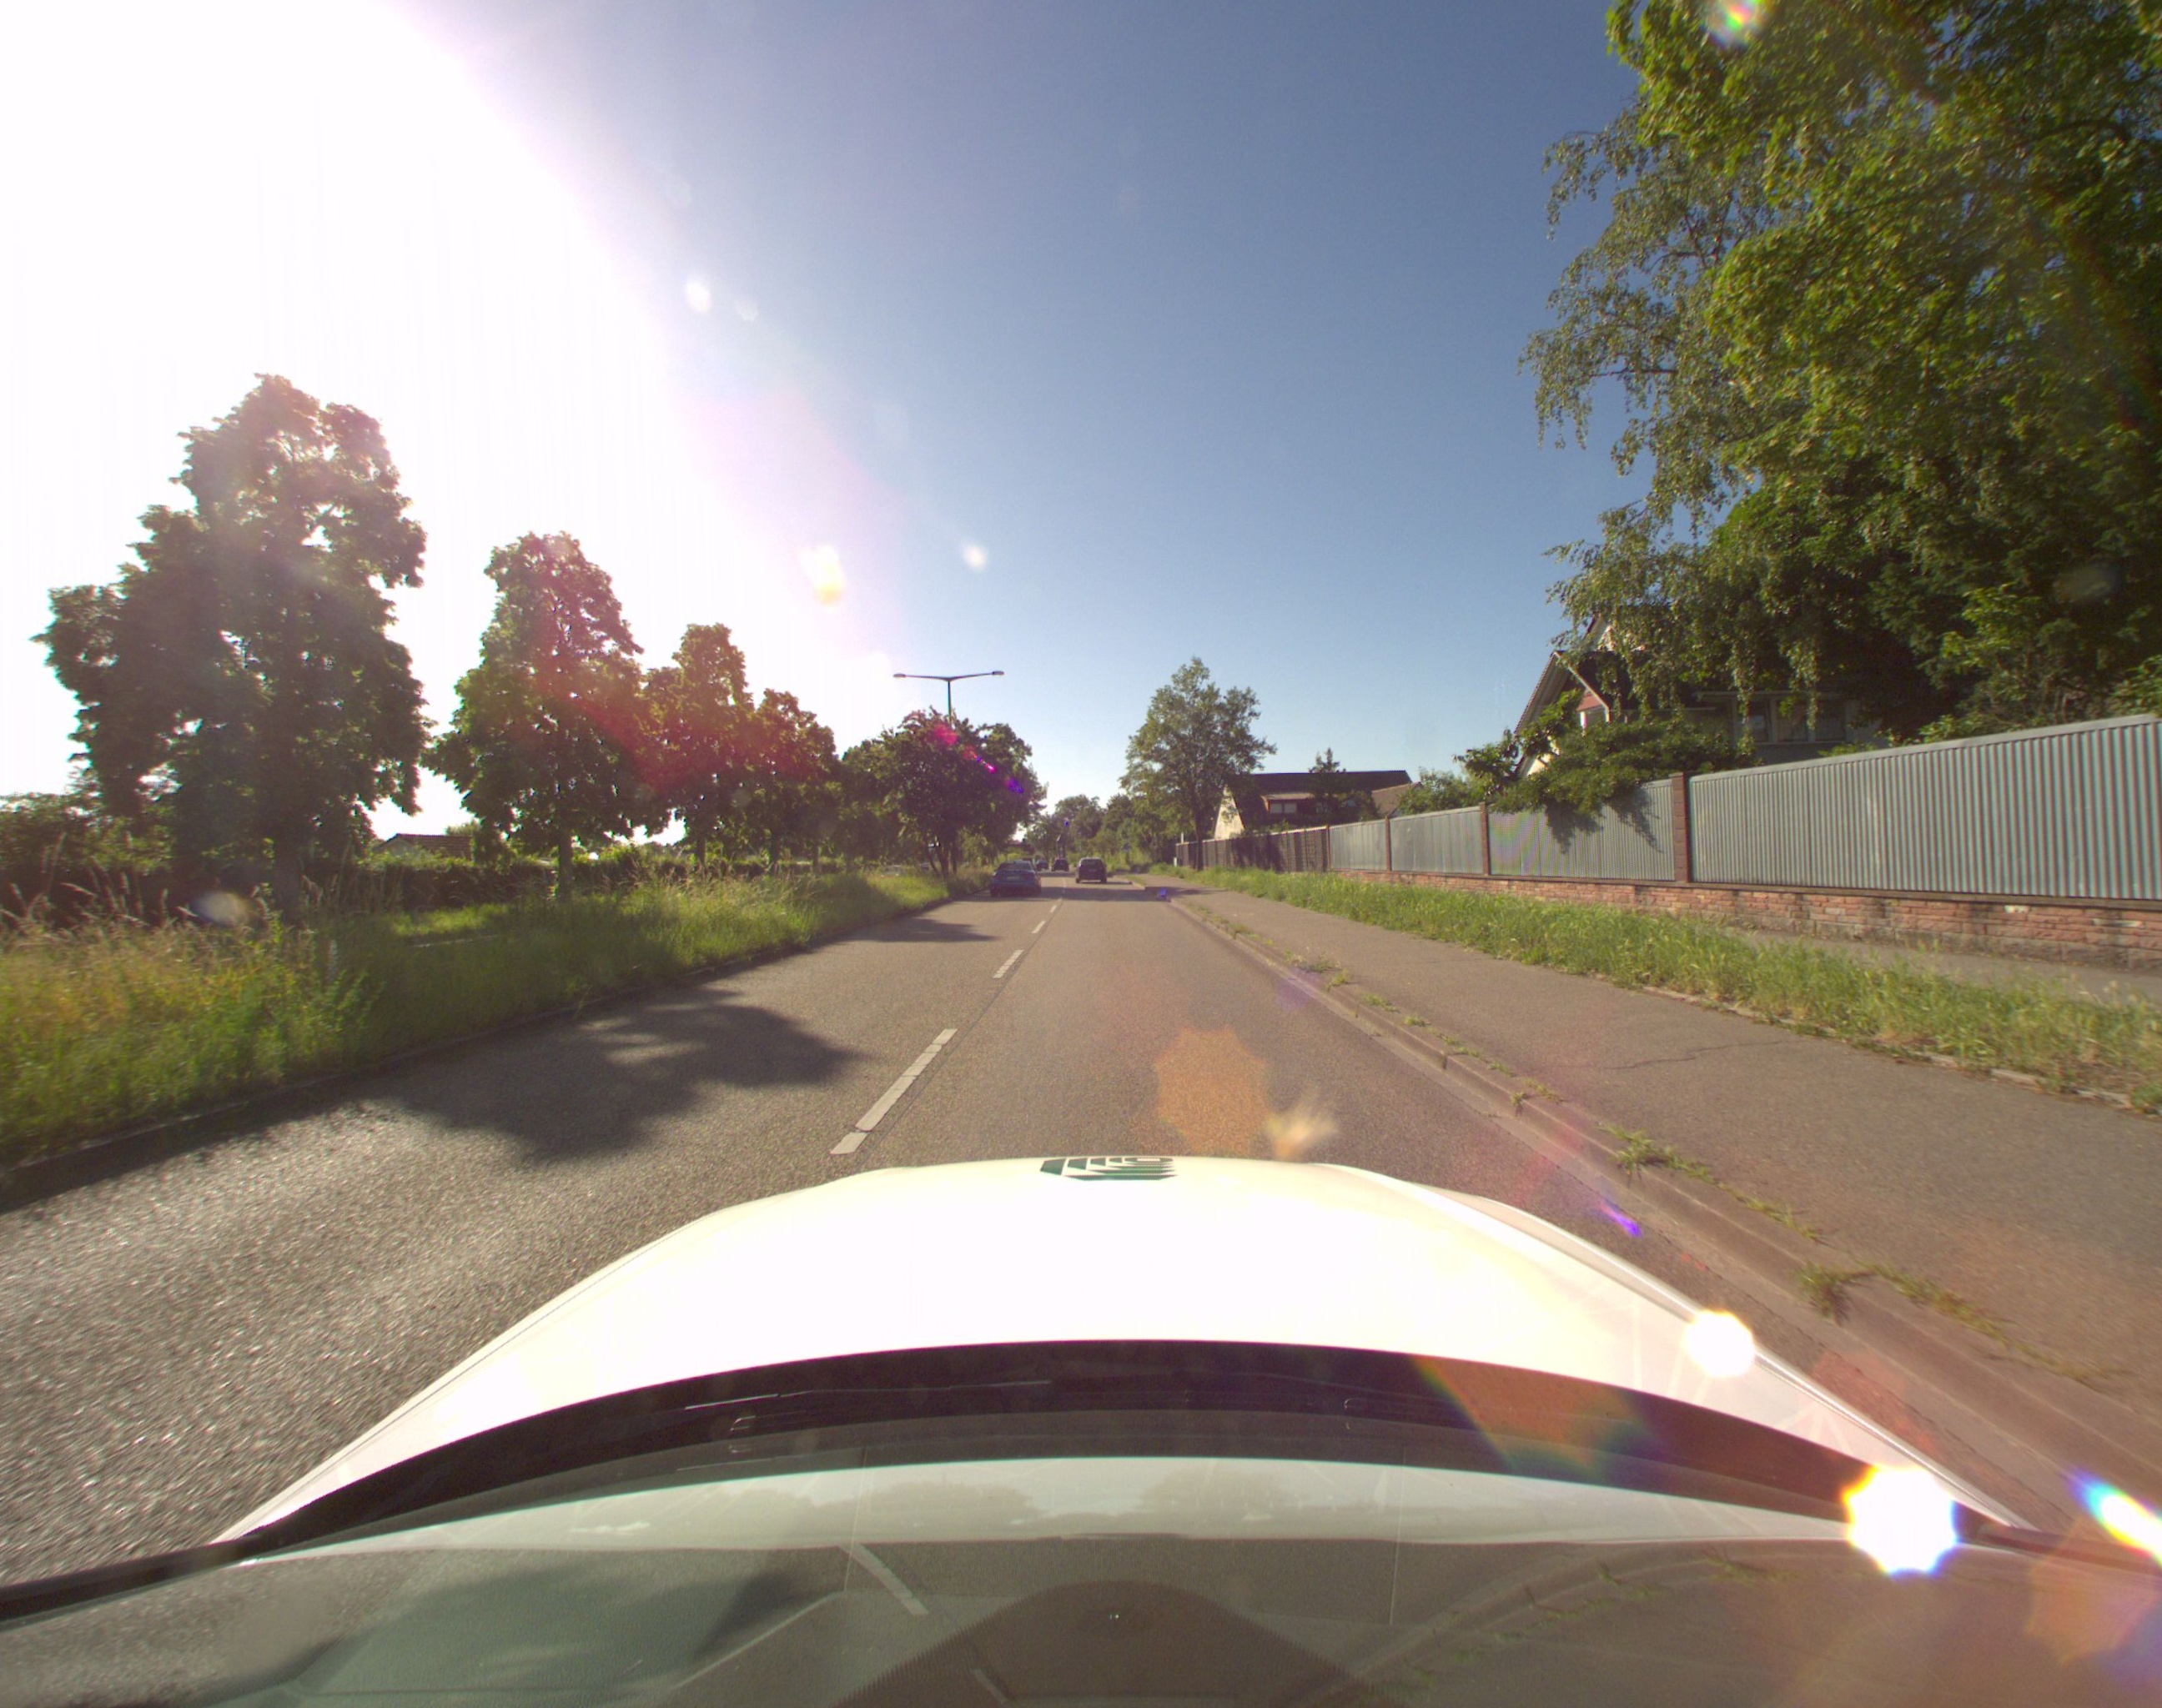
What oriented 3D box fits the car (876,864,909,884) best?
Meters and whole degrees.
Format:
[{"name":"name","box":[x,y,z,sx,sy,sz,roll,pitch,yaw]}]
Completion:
[{"name":"car","box":[-15.774,1.672,68.278,1.665,1.467,4.178,-4,0,0]}]

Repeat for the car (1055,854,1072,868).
[{"name":"car","box":[-2.090,0.876,95.572,1.911,1.579,4.177,-1,0,-3]}]

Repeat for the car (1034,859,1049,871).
[{"name":"car","box":[-5.775,1.636,119.313,1.913,1.678,4.003,-1,0,-7]}]

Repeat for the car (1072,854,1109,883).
[{"name":"car","box":[0.509,0.811,47.734,1.910,1.579,4.179,-1,0,-2]}]

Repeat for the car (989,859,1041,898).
[{"name":"car","box":[-2.622,0.960,33.234,1.833,1.474,4.182,-1,-1,-1]}]

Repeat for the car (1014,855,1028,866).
[{"name":"car","box":[-8.632,0.942,116.592,1.913,1.512,4.059,-2,0,-6]}]
